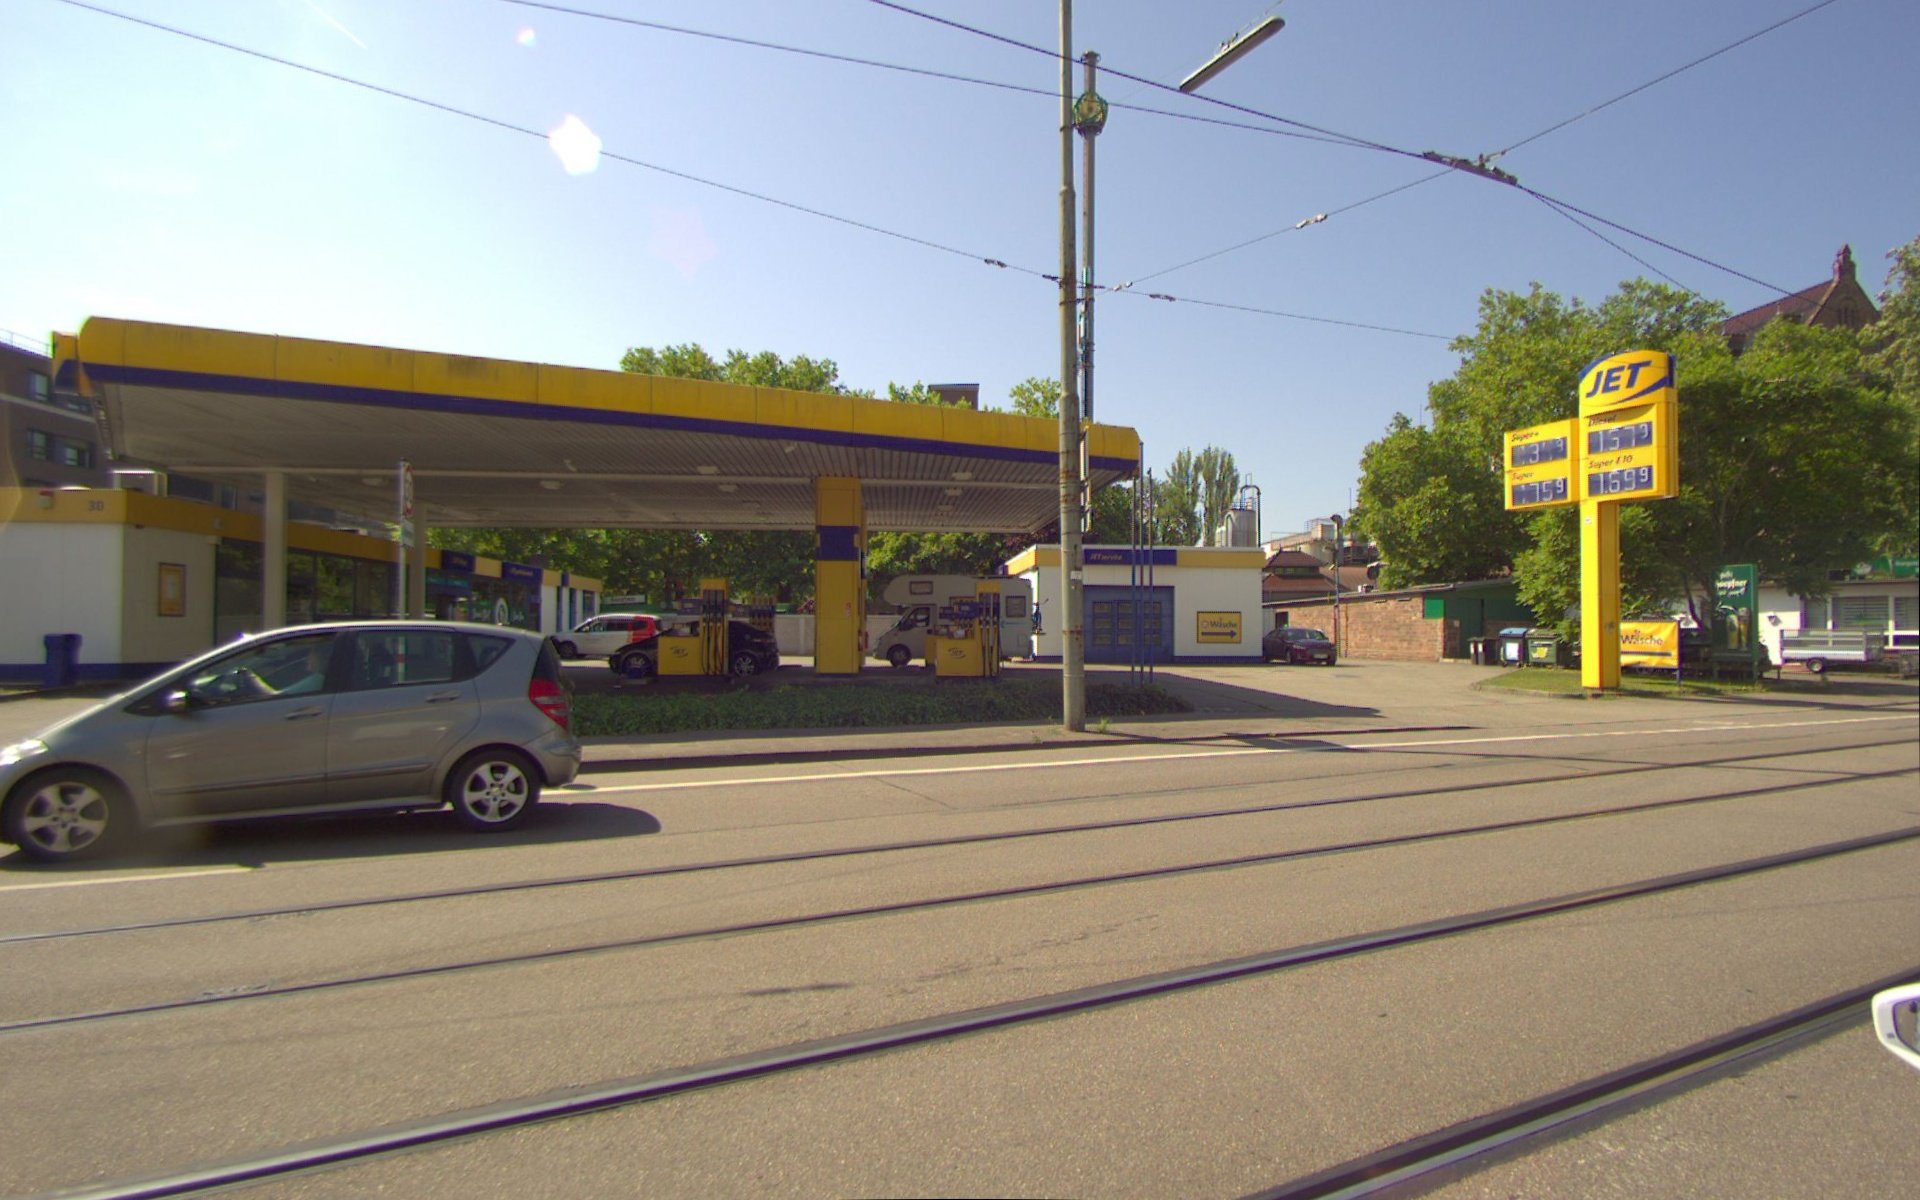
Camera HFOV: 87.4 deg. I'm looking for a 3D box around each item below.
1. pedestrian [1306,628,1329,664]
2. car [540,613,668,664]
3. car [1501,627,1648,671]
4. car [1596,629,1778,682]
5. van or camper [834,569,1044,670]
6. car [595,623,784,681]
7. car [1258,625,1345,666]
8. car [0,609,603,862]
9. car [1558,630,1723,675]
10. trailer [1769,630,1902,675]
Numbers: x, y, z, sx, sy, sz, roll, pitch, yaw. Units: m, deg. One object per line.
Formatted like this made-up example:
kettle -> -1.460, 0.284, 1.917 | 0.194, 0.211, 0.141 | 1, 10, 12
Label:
pedestrian -> 15.078, 1.944, 42.333 | 0.629, 1.488, 0.676 | 1, -2, -20
car -> -14.007, 1.508, 39.722 | 4.389, 1.786, 1.777 | 2, 0, -5
car -> 23.682, 1.859, 38.923 | 4.487, 1.604, 1.950 | 0, -2, 17
car -> 23.957, 1.806, 33.298 | 4.487, 1.646, 1.950 | 0, -2, 16
van or camper -> -0.632, 0.606, 33.172 | 6.579, 3.007, 2.617 | 2, 1, 1
car -> -6.710, 1.285, 25.270 | 4.306, 1.320, 1.701 | 1, 0, -4
car -> 13.544, 1.786, 40.144 | 1.900, 1.547, 4.171 | 1, -2, -3
car -> -4.864, 0.941, 7.807 | 3.836, 1.591, 1.743 | 2, -3, -23
car -> 24.167, 1.843, 35.856 | 4.487, 1.487, 1.950 | 0, -2, 16
trailer -> 31.475, 1.855, 36.202 | 1.755, 1.546, 3.204 | 1, -2, -27
